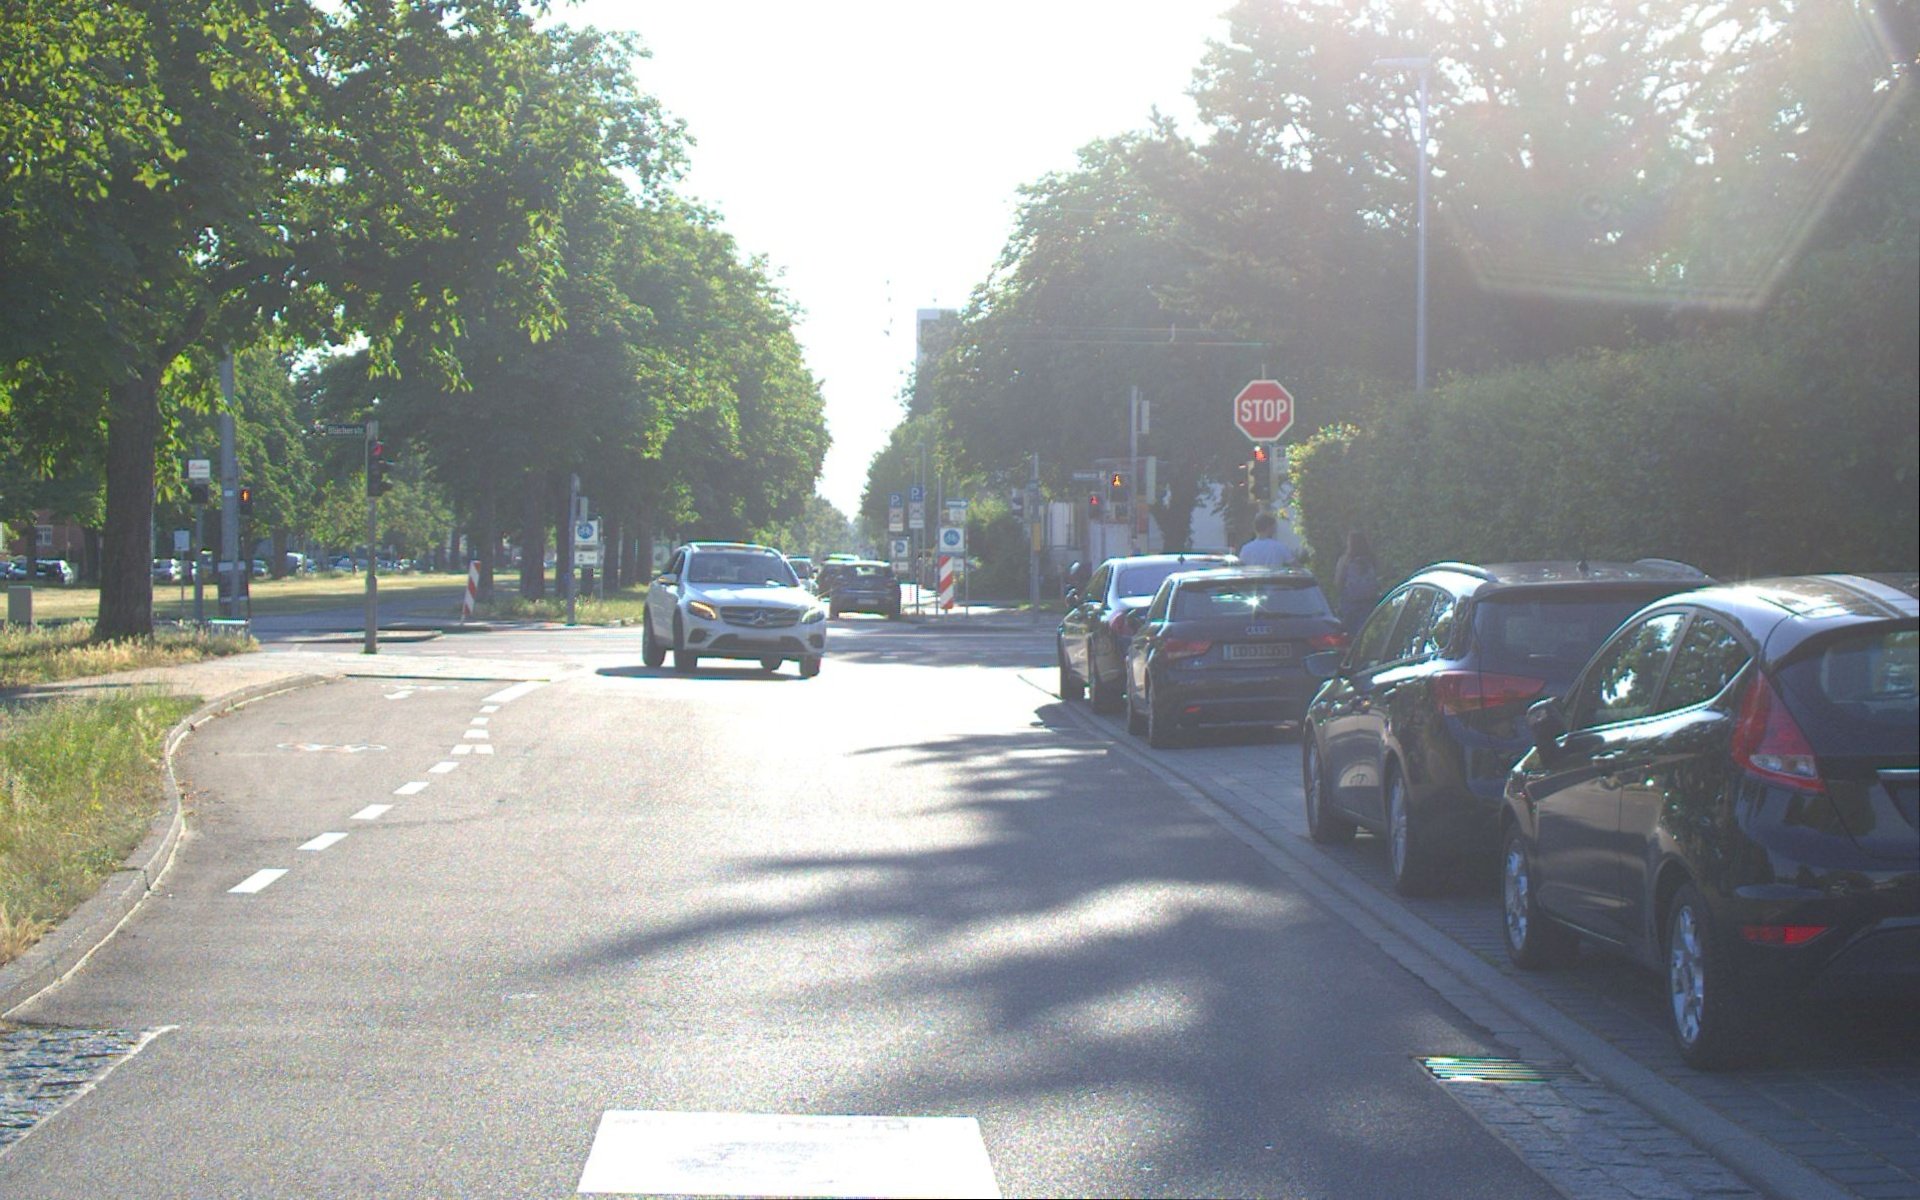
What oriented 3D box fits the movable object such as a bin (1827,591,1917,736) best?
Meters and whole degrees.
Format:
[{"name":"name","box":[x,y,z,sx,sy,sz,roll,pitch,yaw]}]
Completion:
[{"name":"movable object such as a bin","box":[6.642,0.458,25.054,0.507,1.039,0.417,0,1,-7]}]

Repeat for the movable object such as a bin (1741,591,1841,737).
[{"name":"movable object such as a bin","box":[6.072,0.458,25.138,0.507,1.039,0.659,0,1,-7]}]

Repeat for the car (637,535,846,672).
[{"name":"car","box":[-2.904,0.010,44.854,1.890,1.671,4.426,0,1,-15]}]

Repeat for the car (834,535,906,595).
[{"name":"car","box":[-2.212,-0.890,85.124,1.641,1.446,3.307,0,1,1]}]

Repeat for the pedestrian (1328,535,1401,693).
[{"name":"pedestrian","box":[4.406,0.146,37.499,0.669,1.702,0.623,0,1,-4]}]

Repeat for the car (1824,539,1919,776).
[{"name":"car","box":[7.830,0.301,22.913,3.633,1.491,1.781,-2,1,-1]}]

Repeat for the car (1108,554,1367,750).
[{"name":"car","box":[2.215,0.372,28.352,1.641,1.423,3.937,-2,1,-2]}]

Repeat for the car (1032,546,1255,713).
[{"name":"car","box":[1.775,0.237,34.706,1.859,1.537,4.874,0,1,-2]}]

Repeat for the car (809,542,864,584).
[{"name":"car","box":[-4.261,-1.308,119.083,1.845,1.389,3.829,0,1,-1]}]

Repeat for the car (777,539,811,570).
[{"name":"car","box":[-10.854,-2.986,225.137,2.134,2.007,3.902,0,1,-1]}]

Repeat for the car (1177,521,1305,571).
[{"name":"car","box":[8.689,-1.680,106.487,3.779,1.520,1.744,0,3,-1]}]

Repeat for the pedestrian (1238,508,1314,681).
[{"name":"pedestrian","box":[3.442,-0.071,37.494,0.670,1.859,0.882,0,1,-5]}]

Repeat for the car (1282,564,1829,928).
[{"name":"car","box":[2.725,0.594,16.687,1.746,1.469,4.256,0,1,-3]}]

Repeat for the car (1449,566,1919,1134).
[{"name":"car","box":[2.909,0.680,11.638,1.718,1.466,3.984,-3,1,-2]}]
